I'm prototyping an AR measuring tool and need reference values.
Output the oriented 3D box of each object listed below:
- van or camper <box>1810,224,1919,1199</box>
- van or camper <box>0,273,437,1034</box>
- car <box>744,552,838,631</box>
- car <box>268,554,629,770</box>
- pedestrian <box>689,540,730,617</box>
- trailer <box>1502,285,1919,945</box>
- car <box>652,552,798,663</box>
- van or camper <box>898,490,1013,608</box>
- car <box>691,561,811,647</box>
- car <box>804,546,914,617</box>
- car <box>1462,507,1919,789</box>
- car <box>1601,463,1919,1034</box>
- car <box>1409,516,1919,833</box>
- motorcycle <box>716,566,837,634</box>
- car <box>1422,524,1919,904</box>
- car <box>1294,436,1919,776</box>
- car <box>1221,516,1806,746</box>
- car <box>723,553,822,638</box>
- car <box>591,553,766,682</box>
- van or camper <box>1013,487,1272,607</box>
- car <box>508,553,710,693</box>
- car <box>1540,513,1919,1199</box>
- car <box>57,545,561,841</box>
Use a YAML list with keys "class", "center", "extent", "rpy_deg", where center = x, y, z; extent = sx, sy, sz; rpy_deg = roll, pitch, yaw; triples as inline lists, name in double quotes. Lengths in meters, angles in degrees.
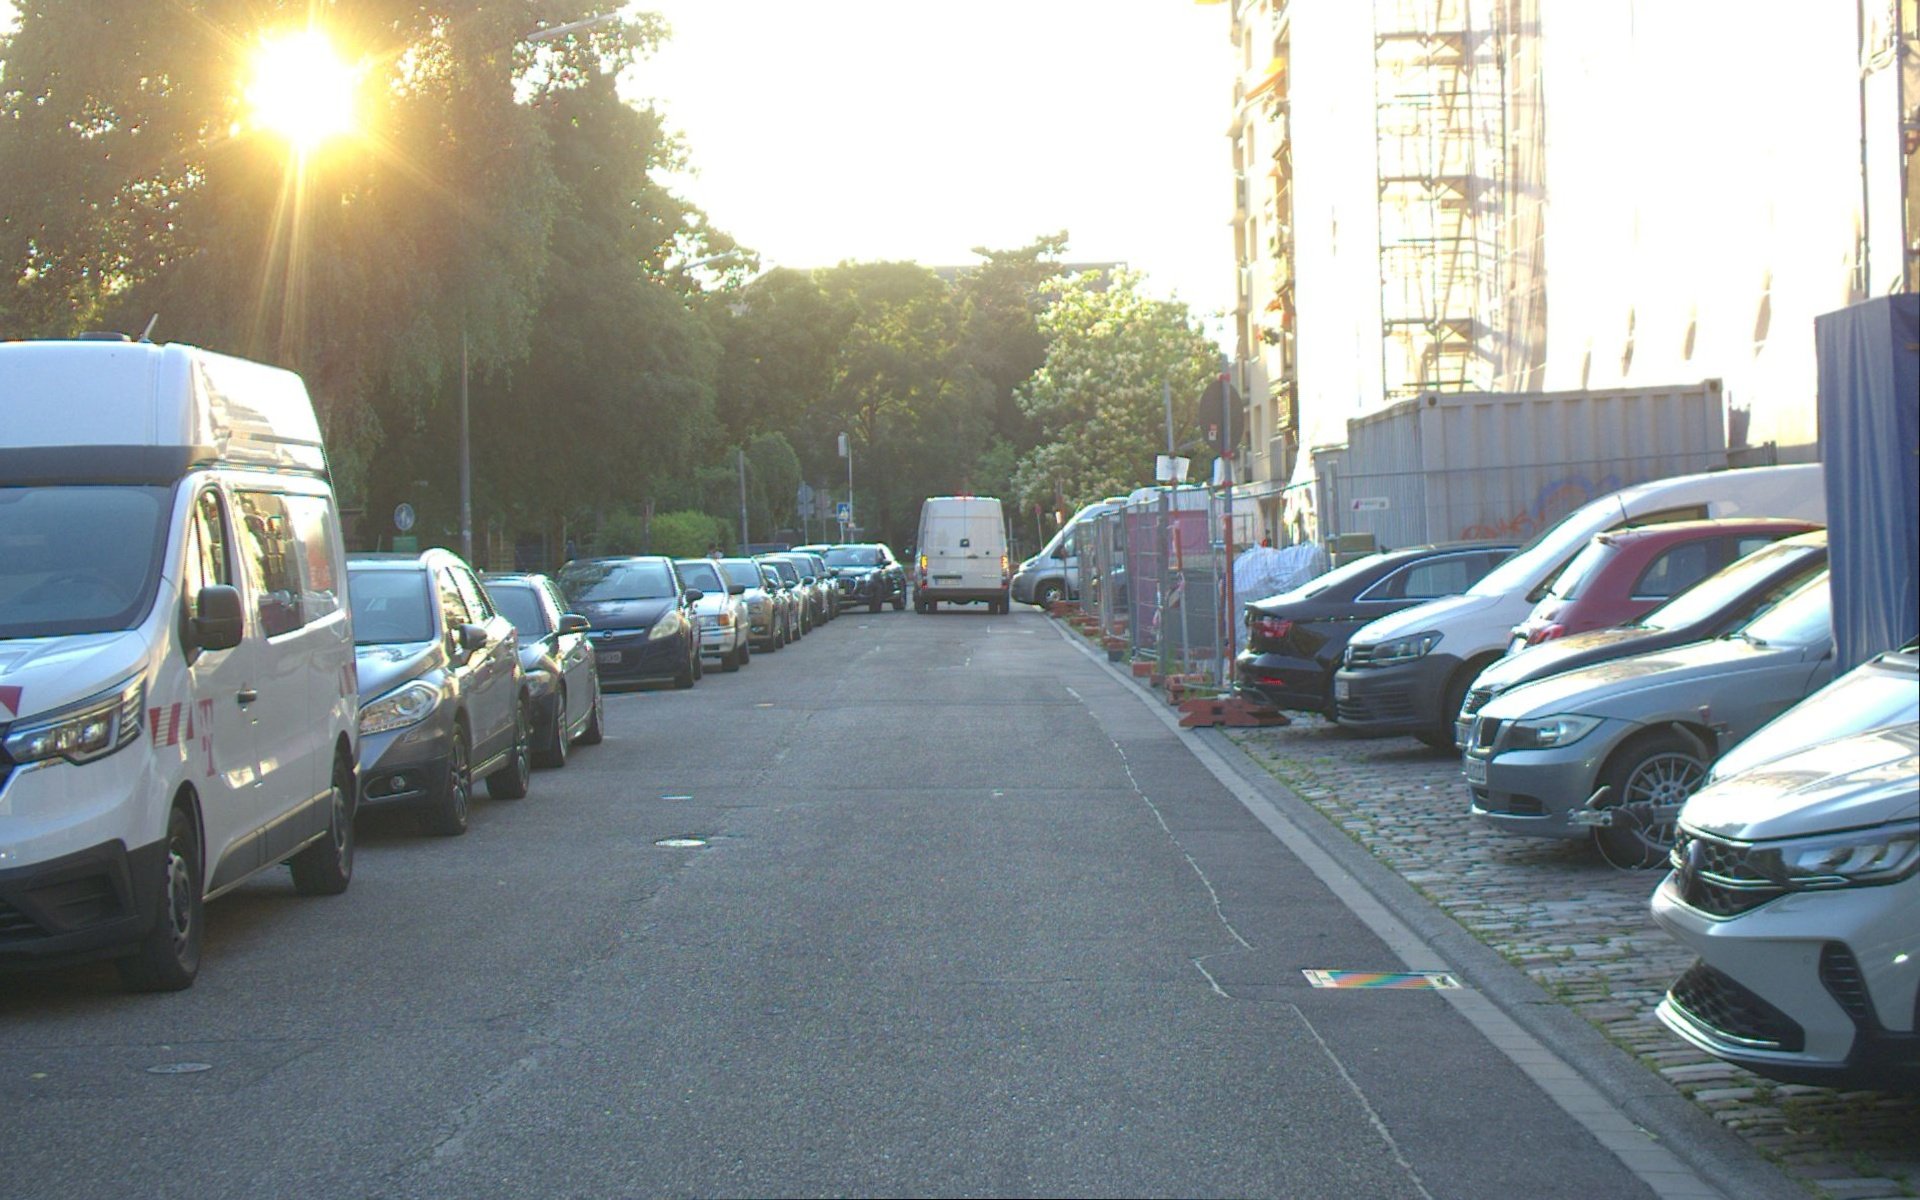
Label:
- class: "van or camper"
  center: [4.196, 0.316, 6.096]
  extent: [4.833, 2.089, 2.041]
  rpy_deg: [-1, 1, 0]
- class: "van or camper"
  center: [-3.646, 0.130, 14.136]
  extent: [1.993, 2.448, 6.083]
  rpy_deg: [-1, 1, 0]
- class: "car"
  center: [-3.398, -0.199, 69.693]
  extent: [1.715, 1.491, 4.361]
  rpy_deg: [-2, 1, -1]
- class: "car"
  center: [-3.708, 0.398, 25.670]
  extent: [1.993, 1.448, 4.288]
  rpy_deg: [-1, 1, 1]
- class: "pedestrian"
  center: [-5.945, -0.504, 81.577]
  extent: [0.937, 1.824, 0.787]
  rpy_deg: [0, 0, -1]
- class: "trailer"
  center: [4.149, -0.032, 13.465]
  extent: [3.566, 2.329, 1.941]
  rpy_deg: [-3, 1, -3]
- class: "car"
  center: [-3.521, 0.079, 52.239]
  extent: [1.860, 1.532, 4.759]
  rpy_deg: [-2, 1, 0]
- class: "van or camper"
  center: [-0.074, -1.153, 78.028]
  extent: [2.454, 2.538, 6.083]
  rpy_deg: [1, 1, 0]
- class: "car"
  center: [-3.463, 0.039, 57.526]
  extent: [1.659, 1.309, 4.155]
  rpy_deg: [-2, 1, 1]
- class: "car"
  center: [-2.300, -0.449, 79.625]
  extent: [1.805, 1.564, 4.564]
  rpy_deg: [-1, 1, 8]
- class: "car"
  center: [5.063, 0.253, 20.940]
  extent: [3.692, 1.605, 1.745]
  rpy_deg: [-1, 1, -2]
- class: "car"
  center: [4.347, 0.421, 11.467]
  extent: [3.987, 1.722, 2.000]
  rpy_deg: [-1, 0, -1]
- class: "car"
  center: [4.539, 0.345, 18.396]
  extent: [3.963, 1.566, 1.789]
  rpy_deg: [-1, 1, -3]
- class: "motorcycle"
  center: [-3.549, -0.005, 66.503]
  extent: [2.165, 1.299, 0.879]
  rpy_deg: [0, 1, 15]
- class: "car"
  center: [4.329, 0.463, 16.095]
  extent: [3.986, 1.632, 1.903]
  rpy_deg: [-1, 1, -3]
- class: "car"
  center: [4.617, -0.008, 23.376]
  extent: [4.265, 1.973, 1.822]
  rpy_deg: [-4, 2, -7]
- class: "car"
  center: [4.118, 0.212, 26.090]
  extent: [4.153, 1.610, 1.872]
  rpy_deg: [-1, 1, 2]
- class: "car"
  center: [-3.426, -0.102, 63.285]
  extent: [1.601, 1.426, 3.804]
  rpy_deg: [-4, 1, -1]
- class: "car"
  center: [-3.521, 0.177, 43.694]
  extent: [1.782, 1.440, 4.749]
  rpy_deg: [-3, 1, 0]
- class: "van or camper"
  center: [4.231, -1.239, 80.478]
  extent: [5.928, 2.760, 2.110]
  rpy_deg: [0, 1, 0]
- class: "car"
  center: [-3.832, 0.213, 38.138]
  extent: [1.993, 1.448, 4.001]
  rpy_deg: [-1, 1, -3]
- class: "car"
  center: [3.685, 0.586, 8.836]
  extent: [3.986, 1.634, 2.000]
  rpy_deg: [-1, 0, -1]
- class: "car"
  center: [-3.654, 0.444, 20.230]
  extent: [1.993, 1.514, 4.789]
  rpy_deg: [-1, 1, 1]
